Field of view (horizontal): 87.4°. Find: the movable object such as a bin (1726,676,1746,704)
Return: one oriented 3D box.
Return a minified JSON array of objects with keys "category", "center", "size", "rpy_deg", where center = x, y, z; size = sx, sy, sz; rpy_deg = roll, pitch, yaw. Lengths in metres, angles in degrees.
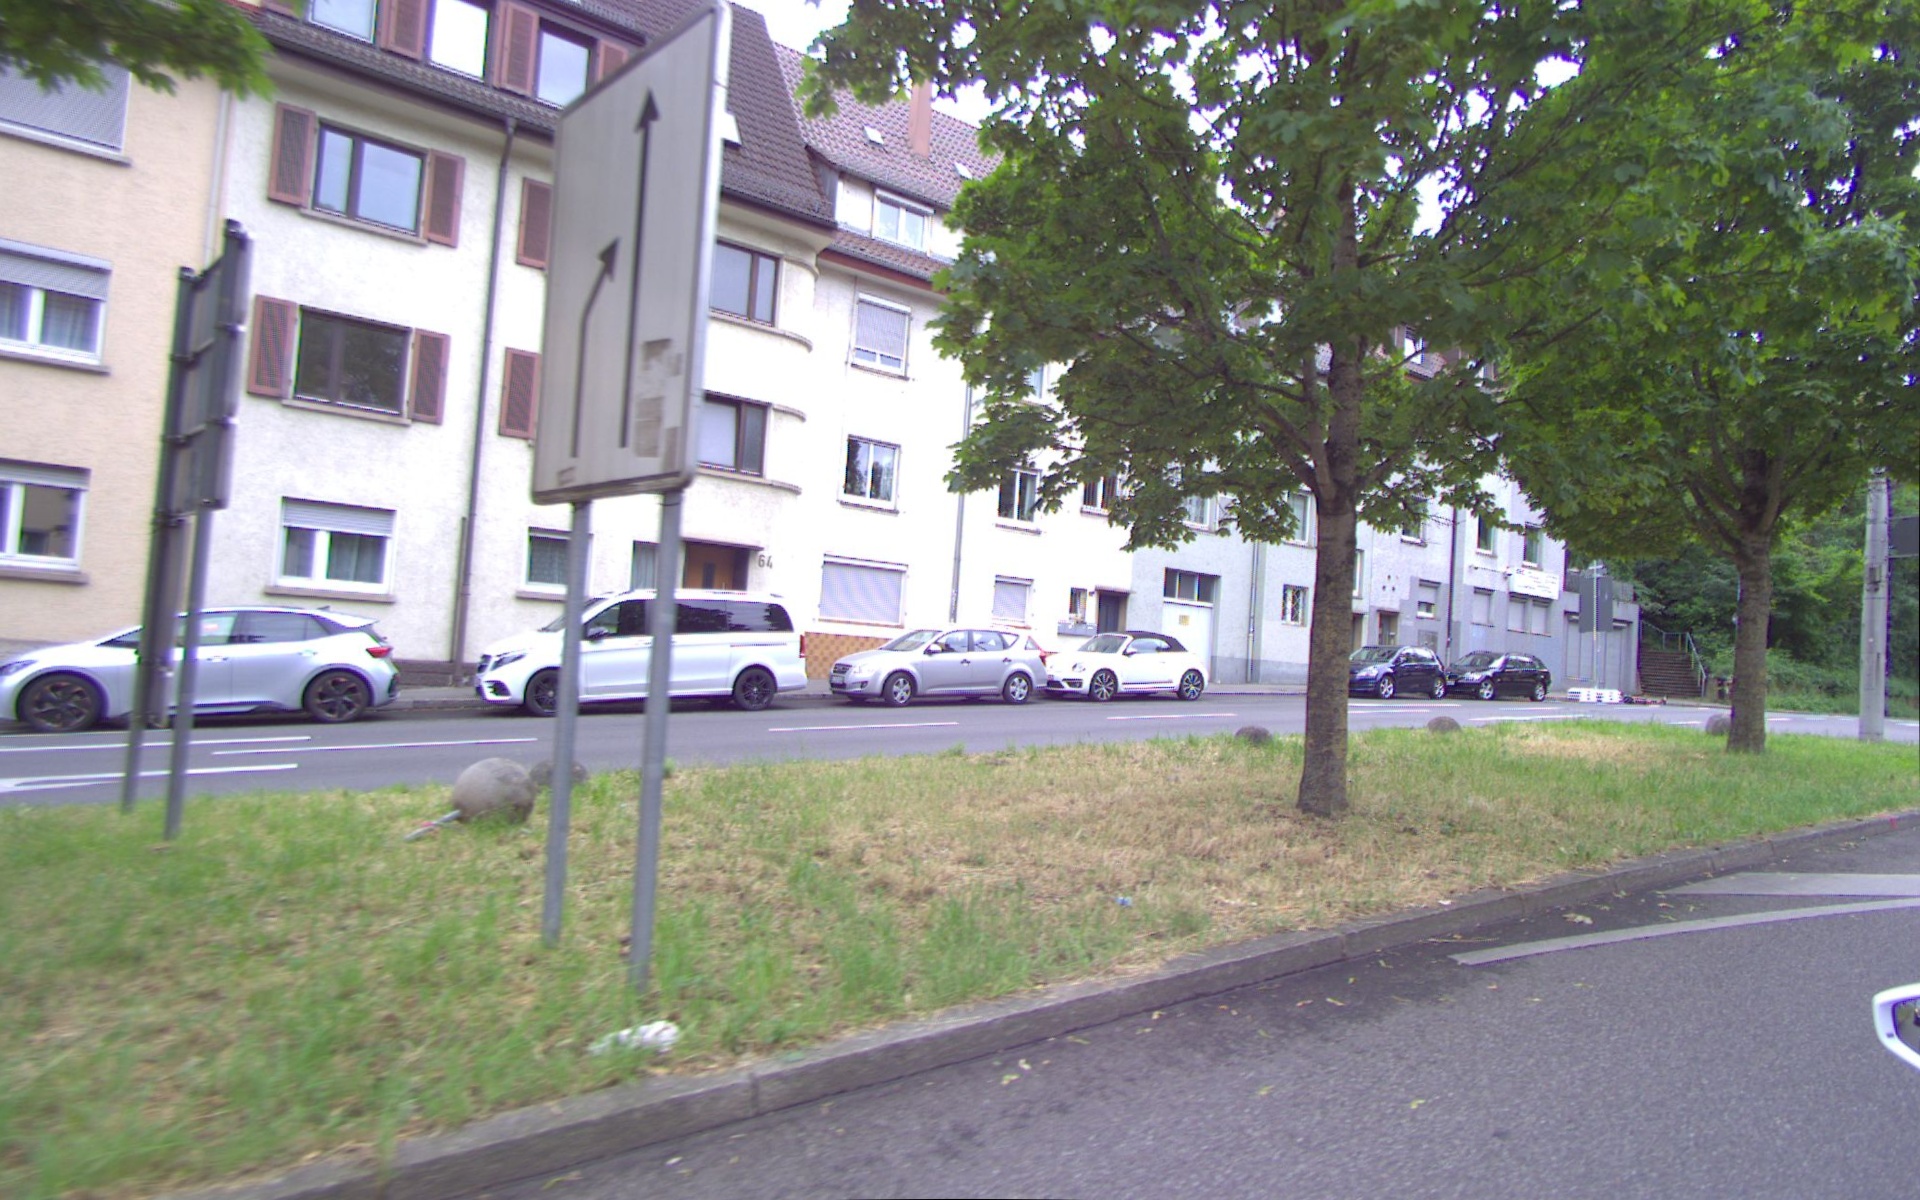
[{"category":"movable object such as a bin","center":[31.268,3.630,40.466],"size":[0.549,1.038,0.428],"rpy_deg":[5,0,43]}]

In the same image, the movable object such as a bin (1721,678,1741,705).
[{"category":"movable object such as a bin","center":[29.796,3.547,38.804],"size":[0.510,0.980,0.442],"rpy_deg":[5,0,43]}]

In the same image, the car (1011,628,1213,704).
[{"category":"car","center":[3.372,1.433,22.084],"size":[4.113,1.494,1.983],"rpy_deg":[3,-2,-32]}]

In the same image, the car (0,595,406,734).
[{"category":"car","center":[-9.789,0.823,13.325],"size":[4.115,1.573,1.982],"rpy_deg":[3,-2,-34]}]

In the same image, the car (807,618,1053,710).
[{"category":"car","center":[-0.523,1.194,19.308],"size":[4.336,1.573,1.982],"rpy_deg":[3,-2,-34]}]

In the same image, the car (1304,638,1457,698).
[{"category":"car","center":[11.548,1.874,27.493],"size":[4.173,1.441,1.980],"rpy_deg":[5,-3,-36]}]

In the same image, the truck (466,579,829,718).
[{"category":"truck","center":[-4.977,0.801,16.399],"size":[5.292,1.945,1.982],"rpy_deg":[3,-2,-34]}]

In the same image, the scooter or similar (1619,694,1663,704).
[{"category":"scooter or similar","center":[23.007,3.345,33.922],"size":[1.111,0.292,1.093],"rpy_deg":[-1,-5,42]}]

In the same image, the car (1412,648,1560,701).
[{"category":"car","center":[15.828,2.233,30.148],"size":[4.469,1.419,1.983],"rpy_deg":[3,-2,-32]}]

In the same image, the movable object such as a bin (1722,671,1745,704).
[{"category":"movable object such as a bin","center":[30.206,3.419,39.232],"size":[0.598,1.201,0.489],"rpy_deg":[5,0,43]}]
